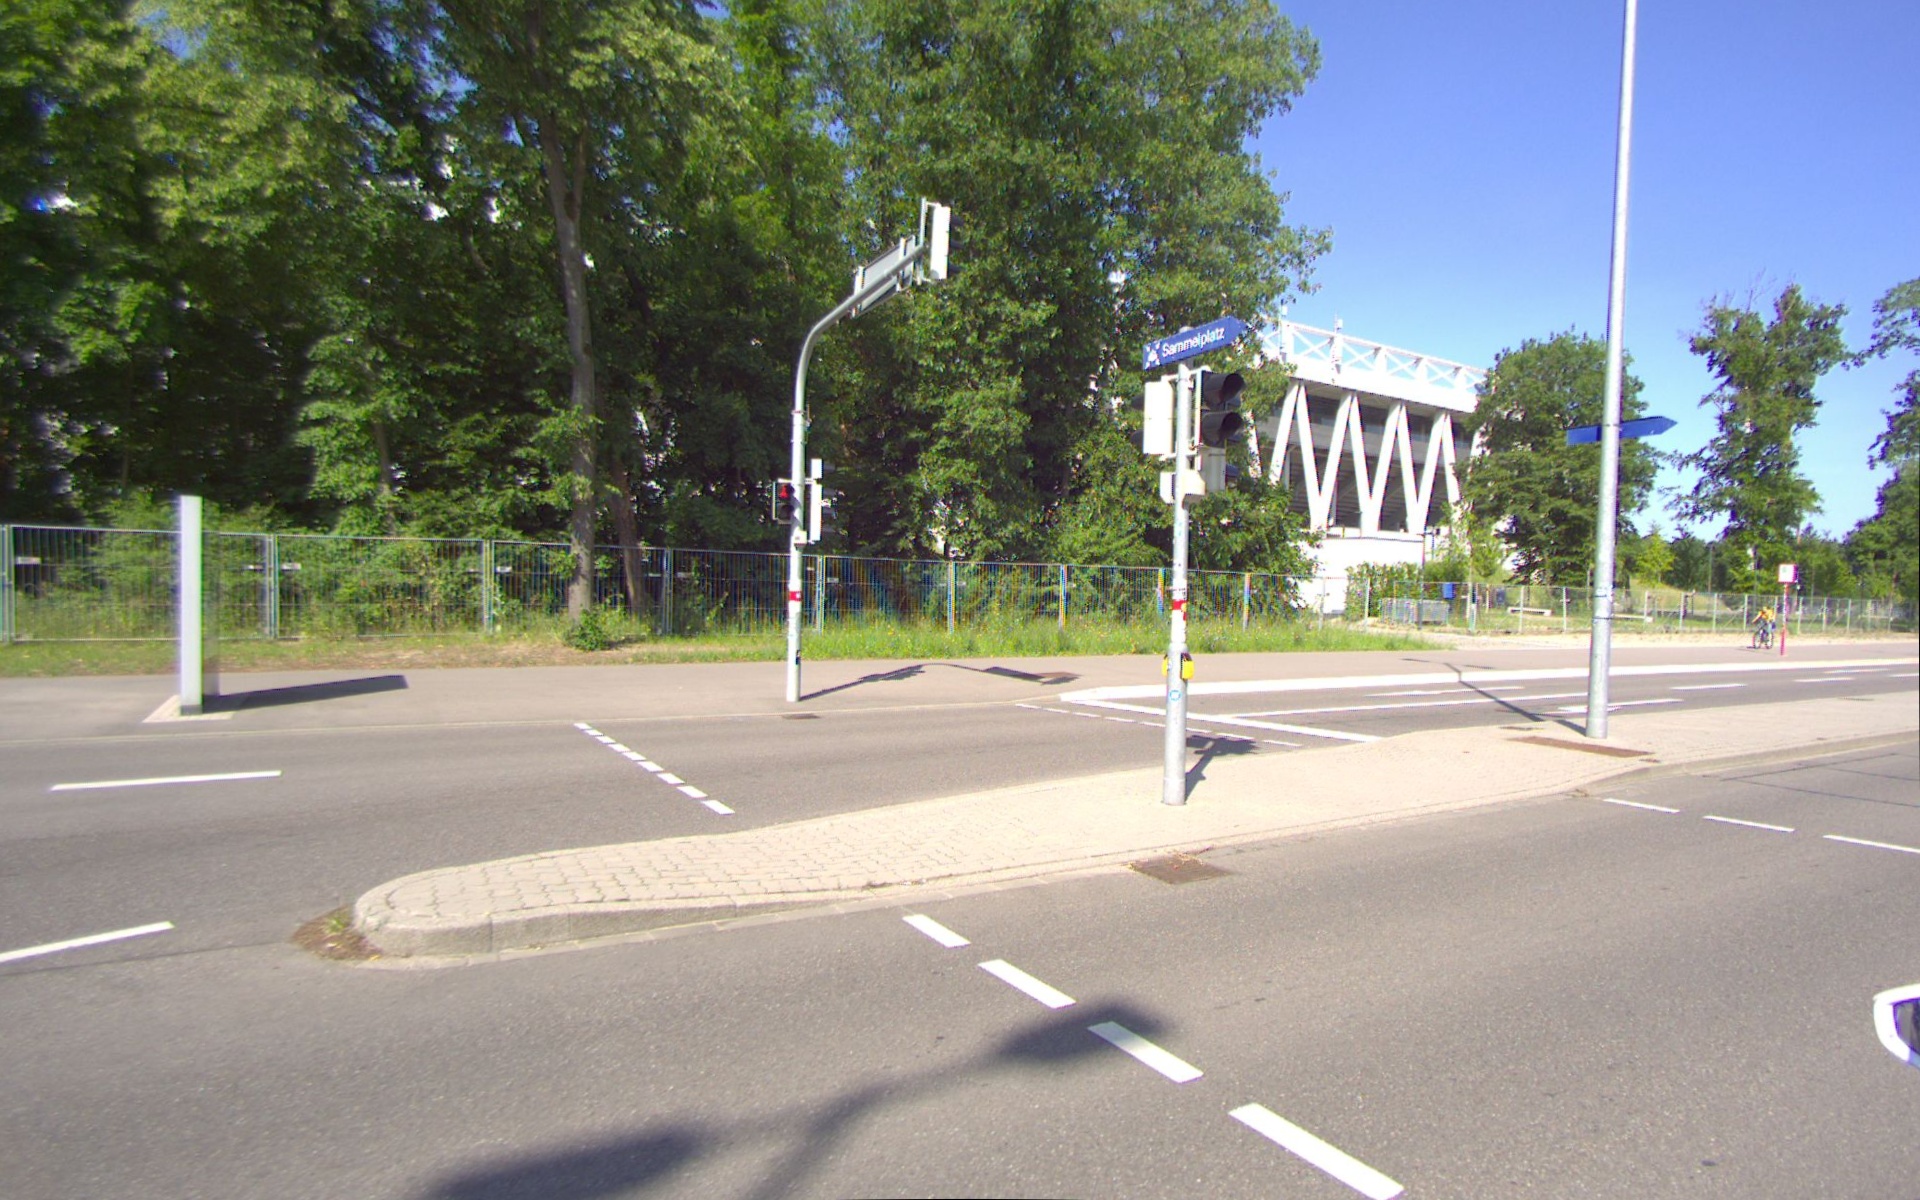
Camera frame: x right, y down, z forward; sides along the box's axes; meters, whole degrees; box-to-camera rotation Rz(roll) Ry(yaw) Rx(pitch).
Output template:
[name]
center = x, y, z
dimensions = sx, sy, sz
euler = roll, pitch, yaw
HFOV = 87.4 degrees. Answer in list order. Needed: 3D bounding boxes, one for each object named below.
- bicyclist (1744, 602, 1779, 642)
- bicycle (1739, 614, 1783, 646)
[bicyclist]
center = 30.554, 0.838, 38.287
dimensions = 1.045, 1.487, 0.656
euler = 0, 3, -31
[bicycle]
center = 30.517, 1.138, 38.280
dimensions = 1.857, 1.151, 0.656
euler = 1, 3, -31
